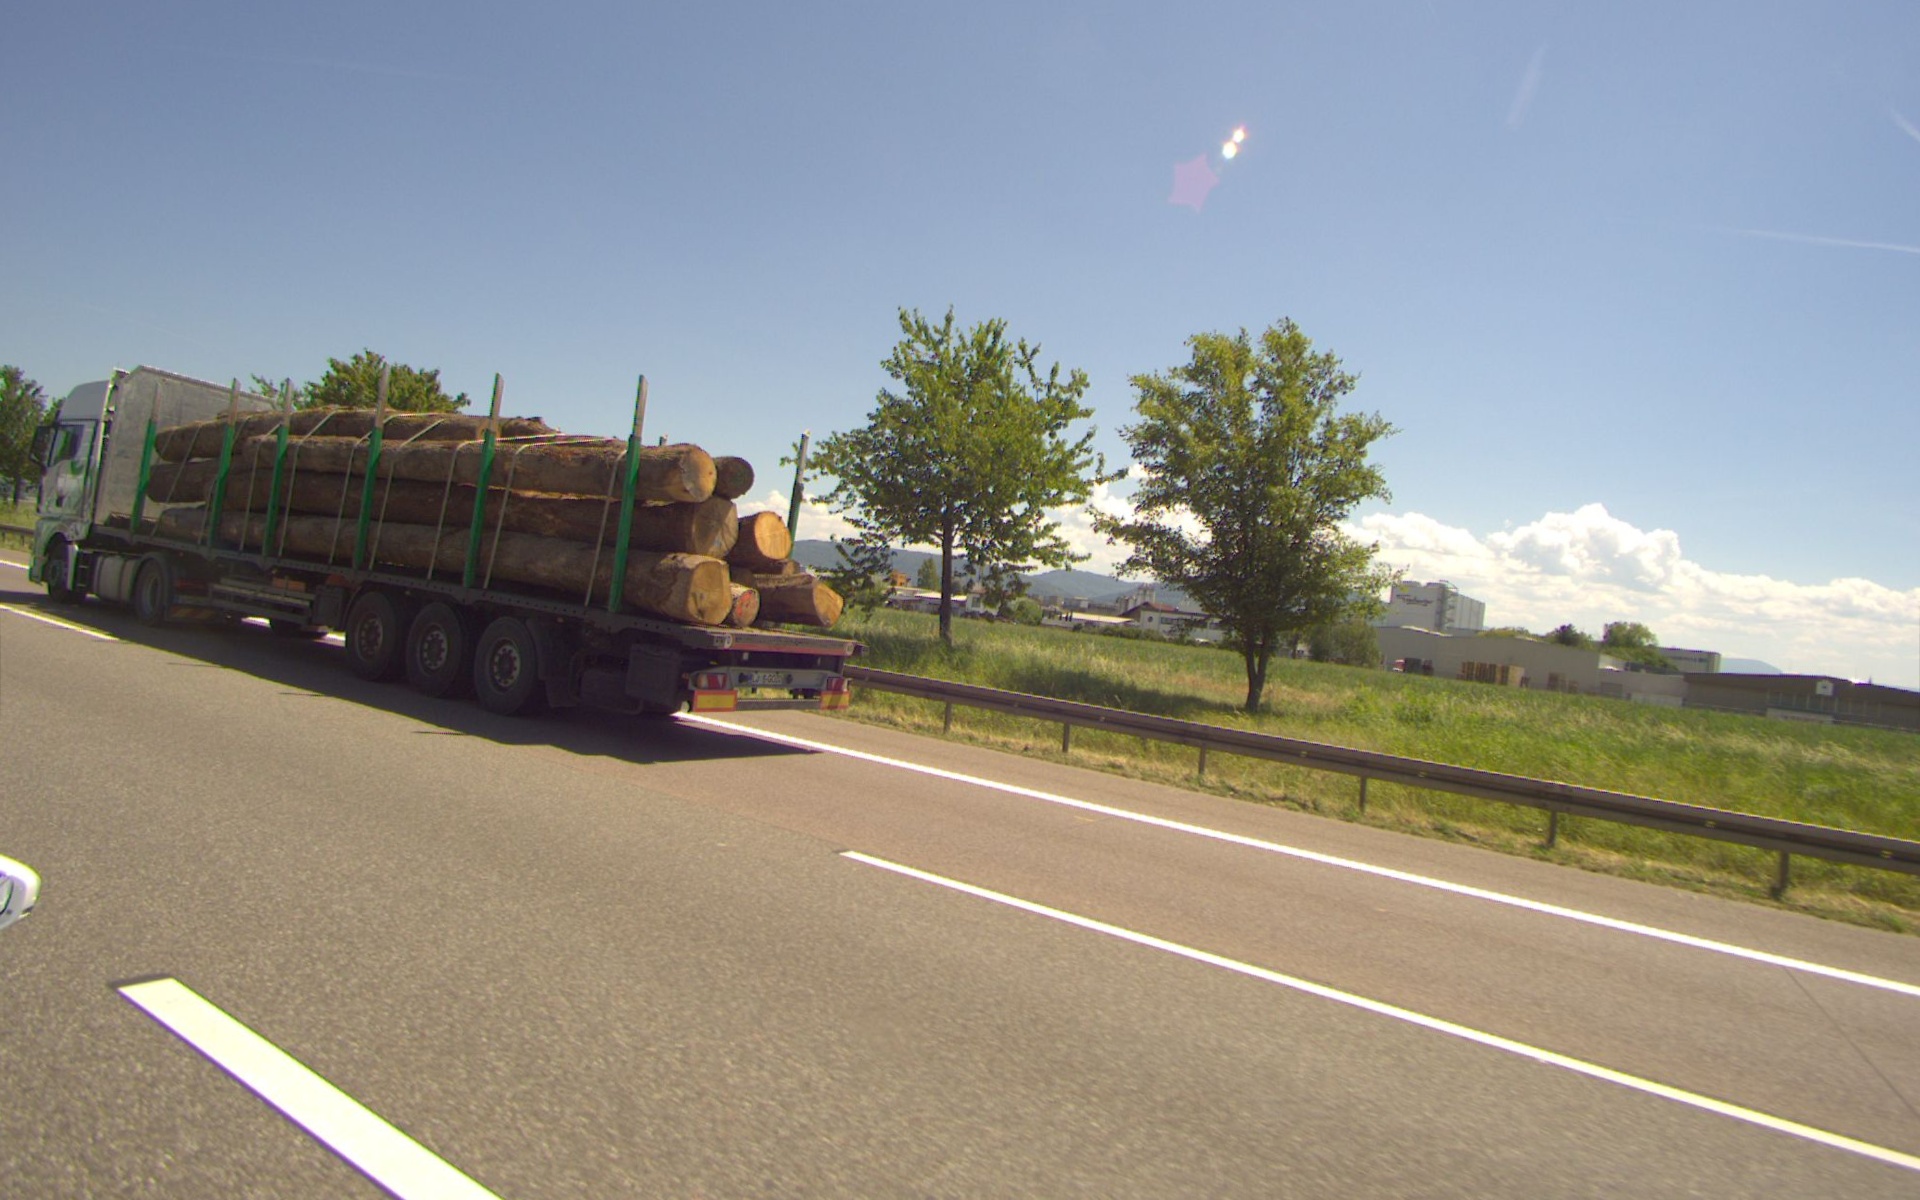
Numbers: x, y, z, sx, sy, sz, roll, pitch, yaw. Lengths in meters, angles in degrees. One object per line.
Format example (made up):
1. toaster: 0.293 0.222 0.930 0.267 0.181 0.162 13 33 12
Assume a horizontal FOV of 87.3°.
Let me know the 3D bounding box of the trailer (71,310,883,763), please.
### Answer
1. trailer: -7.440 -1.090 13.502 13.410 4.005 2.658 7 -1 32

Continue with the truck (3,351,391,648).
1. truck: -12.954 -1.673 16.936 6.526 4.041 2.675 7 -1 32
